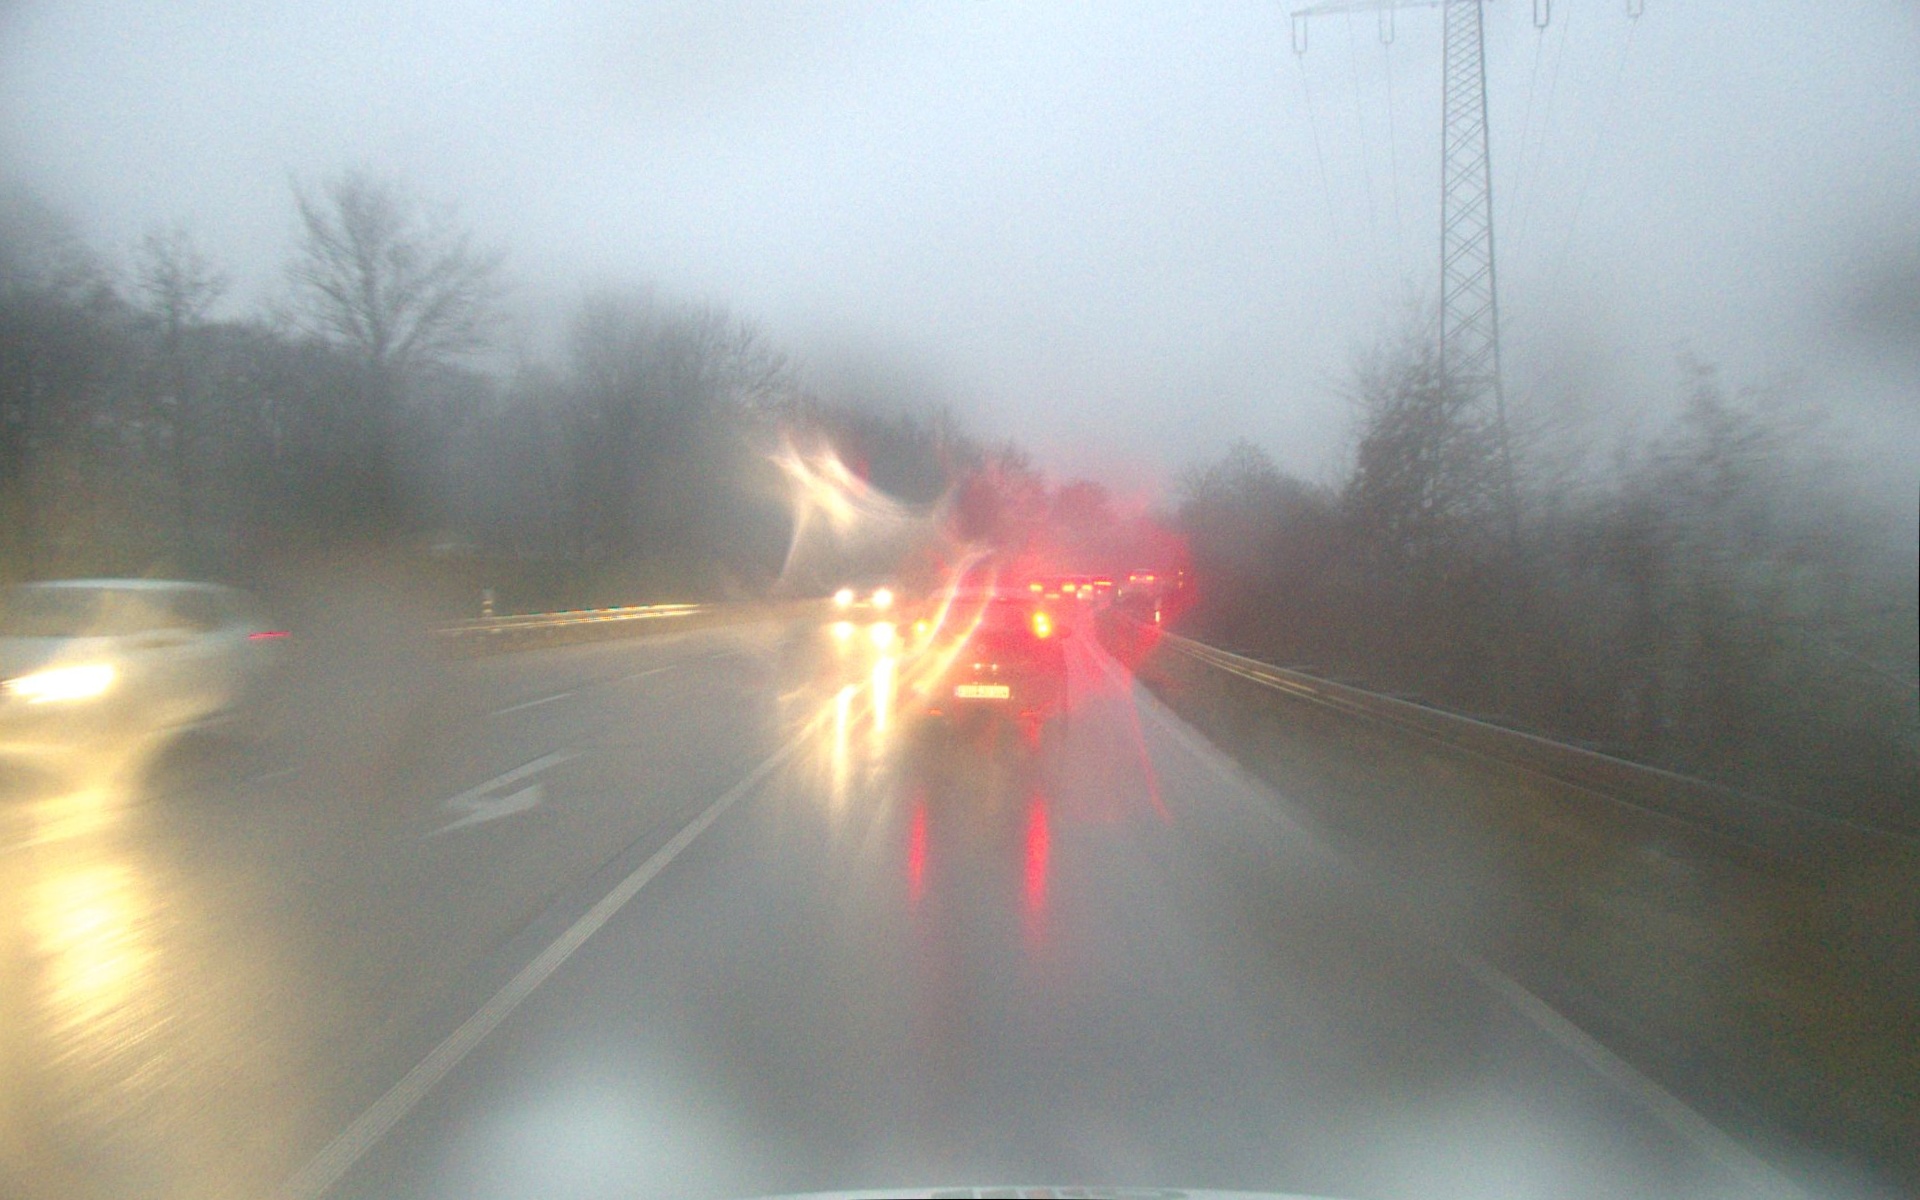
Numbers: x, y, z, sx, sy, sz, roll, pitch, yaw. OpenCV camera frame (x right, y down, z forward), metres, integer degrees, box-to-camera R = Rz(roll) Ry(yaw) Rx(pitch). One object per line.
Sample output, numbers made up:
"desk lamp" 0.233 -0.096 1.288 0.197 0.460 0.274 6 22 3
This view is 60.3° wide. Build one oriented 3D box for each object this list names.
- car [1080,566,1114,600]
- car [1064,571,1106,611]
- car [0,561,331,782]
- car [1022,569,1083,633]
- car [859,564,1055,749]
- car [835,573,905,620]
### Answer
"car" 7.932 -1.028 96.118 1.905 1.774 4.004 0 3 4
"car" 6.031 -0.457 80.112 1.905 1.775 4.003 0 2 3
"car" -7.004 0.472 13.572 1.952 1.516 4.382 1 0 1
"car" 3.166 0.017 57.166 1.906 2.049 4.001 -3 0 1
"car" -0.010 0.473 17.133 1.695 1.559 4.043 -4 1 0
"car" -3.037 -0.139 56.548 1.824 1.527 4.525 0 1 4
